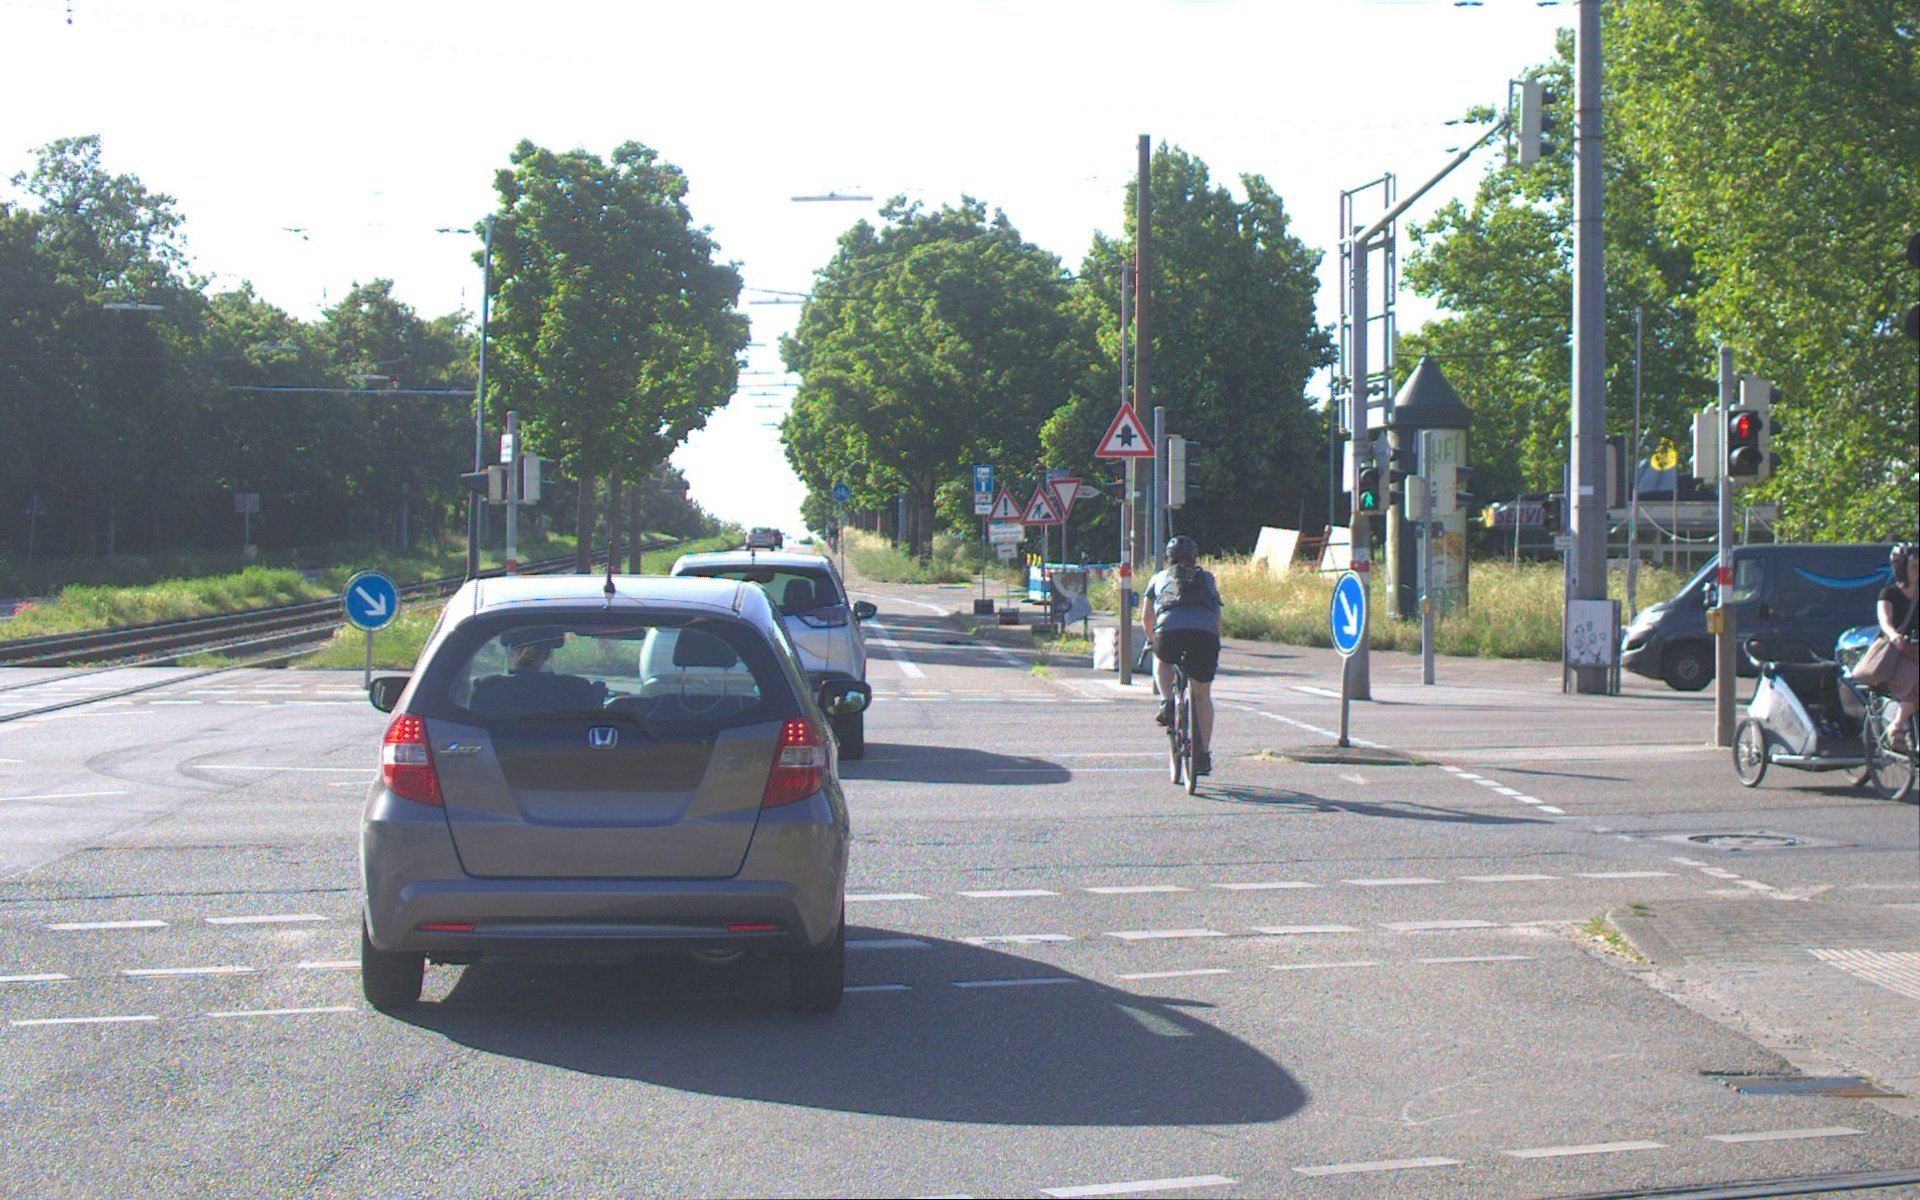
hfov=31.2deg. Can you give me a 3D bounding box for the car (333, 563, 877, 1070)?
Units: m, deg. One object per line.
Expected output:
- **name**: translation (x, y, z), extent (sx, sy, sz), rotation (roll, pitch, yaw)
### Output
- **car**: translation (-1.193, 0.683, 12.955), extent (1.670, 1.510, 3.674), rotation (2, 2, -1)

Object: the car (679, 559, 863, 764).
- **car**: translation (-1.445, 0.450, 27.081), extent (1.351, 1.522, 3.123), rotation (0, 0, -2)

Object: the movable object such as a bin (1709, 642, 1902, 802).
- **movable object such as a bin**: translation (5.936, 0.841, 24.203), extent (0.908, 1.065, 1.317), rotation (0, 0, -7)

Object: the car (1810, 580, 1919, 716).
- **car**: translation (12.497, 0.555, 42.225), extent (3.847, 1.595, 1.713), rotation (0, 0, -28)

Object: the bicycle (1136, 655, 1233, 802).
- **bicycle**: translation (1.523, 0.857, 23.558), extent (0.524, 0.920, 2.089), rotation (0, 0, 0)

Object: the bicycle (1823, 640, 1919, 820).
- **bicycle**: translation (6.234, 0.839, 22.409), extent (0.466, 1.115, 1.821), rotation (0, 0, -10)

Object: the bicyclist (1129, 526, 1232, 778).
- **bicyclist**: translation (1.492, 0.346, 23.341), extent (0.615, 1.674, 0.933), rotation (0, 0, -1)

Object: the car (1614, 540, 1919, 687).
- **car**: translation (12.154, 0.186, 49.840), extent (5.104, 2.063, 2.130), rotation (0, 0, 6)

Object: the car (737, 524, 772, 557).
- **car**: translation (-12.742, -3.669, 213.125), extent (1.993, 2.007, 4.000), rotation (0, 0, -1)

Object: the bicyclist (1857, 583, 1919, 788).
- **bicyclist**: translation (6.292, 0.554, 22.716), extent (0.509, 1.336, 0.565), rotation (0, 0, -11)
